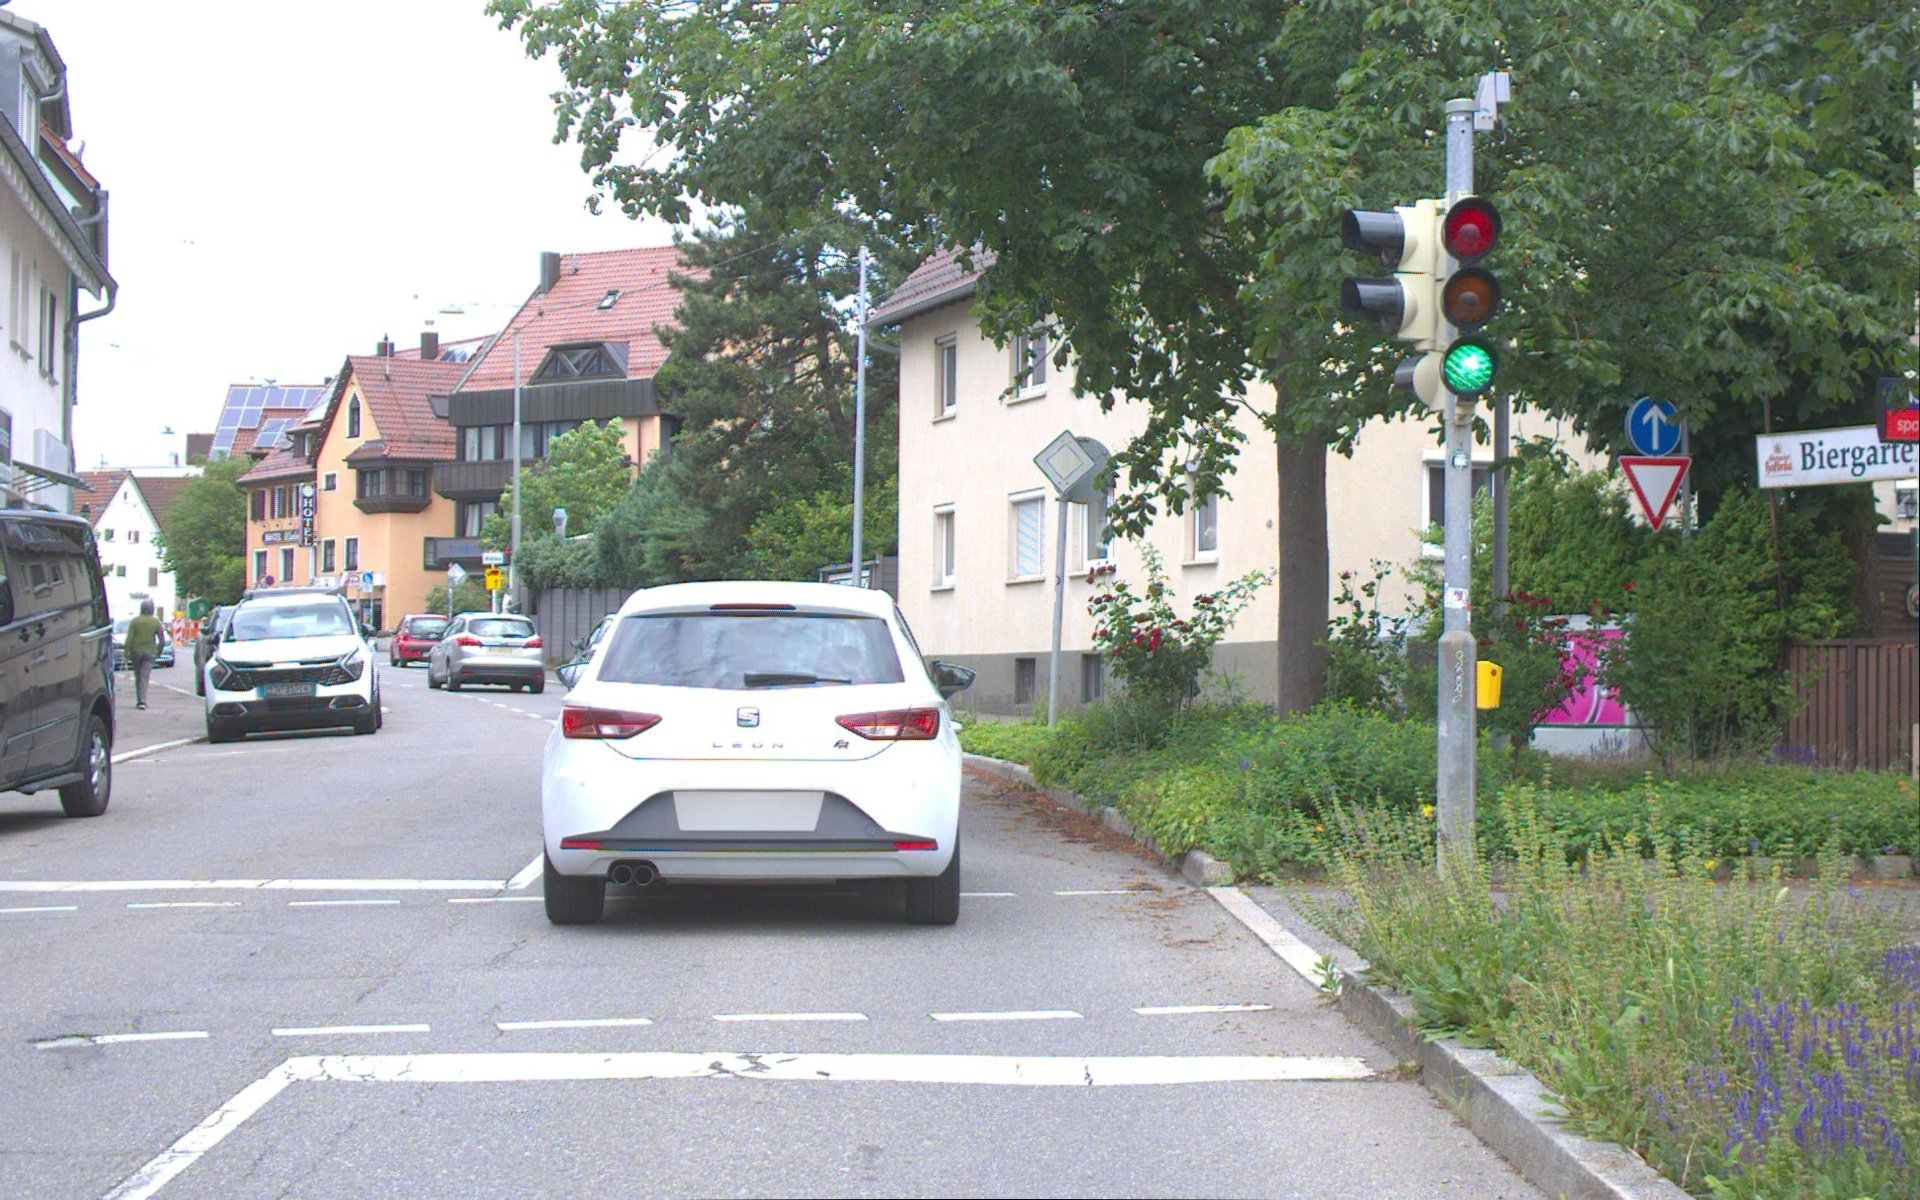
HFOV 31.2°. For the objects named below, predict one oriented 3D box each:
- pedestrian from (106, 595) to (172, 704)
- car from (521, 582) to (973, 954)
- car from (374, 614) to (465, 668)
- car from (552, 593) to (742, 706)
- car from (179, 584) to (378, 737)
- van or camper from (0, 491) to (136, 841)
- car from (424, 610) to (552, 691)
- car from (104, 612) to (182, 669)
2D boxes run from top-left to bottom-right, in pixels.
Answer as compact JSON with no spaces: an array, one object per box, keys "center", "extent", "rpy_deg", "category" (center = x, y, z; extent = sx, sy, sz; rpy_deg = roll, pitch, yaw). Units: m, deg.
[{"center":[-11.562,0.701,48.439],"extent":[0.806,1.495,0.976],"rpy_deg":[3,-2,-11],"category":"pedestrian"},{"center":[-0.933,0.679,15.576],"extent":[1.758,1.447,4.000],"rpy_deg":[1,0,-3],"category":"car"},{"center":[-15.052,1.144,95.638],"extent":[1.758,1.447,4.001],"rpy_deg":[1,-1,-19],"category":"car"},{"center":[-4.300,0.660,46.715],"extent":[1.758,1.447,4.001],"rpy_deg":[1,-1,-17],"category":"car"},{"center":[-7.855,0.681,39.990],"extent":[1.997,1.627,4.858],"rpy_deg":[2,-1,-8],"category":"car"},{"center":[-6.535,0.425,20.625],"extent":[2.073,1.999,4.857],"rpy_deg":[-1,-1,-1],"category":"van or camper"},{"center":[-8.800,0.925,63.834],"extent":[1.758,1.447,4.001],"rpy_deg":[1,-1,-16],"category":"car"},{"center":[-22.505,1.091,94.633],"extent":[1.798,1.474,4.052],"rpy_deg":[-2,0,-17],"category":"car"}]
